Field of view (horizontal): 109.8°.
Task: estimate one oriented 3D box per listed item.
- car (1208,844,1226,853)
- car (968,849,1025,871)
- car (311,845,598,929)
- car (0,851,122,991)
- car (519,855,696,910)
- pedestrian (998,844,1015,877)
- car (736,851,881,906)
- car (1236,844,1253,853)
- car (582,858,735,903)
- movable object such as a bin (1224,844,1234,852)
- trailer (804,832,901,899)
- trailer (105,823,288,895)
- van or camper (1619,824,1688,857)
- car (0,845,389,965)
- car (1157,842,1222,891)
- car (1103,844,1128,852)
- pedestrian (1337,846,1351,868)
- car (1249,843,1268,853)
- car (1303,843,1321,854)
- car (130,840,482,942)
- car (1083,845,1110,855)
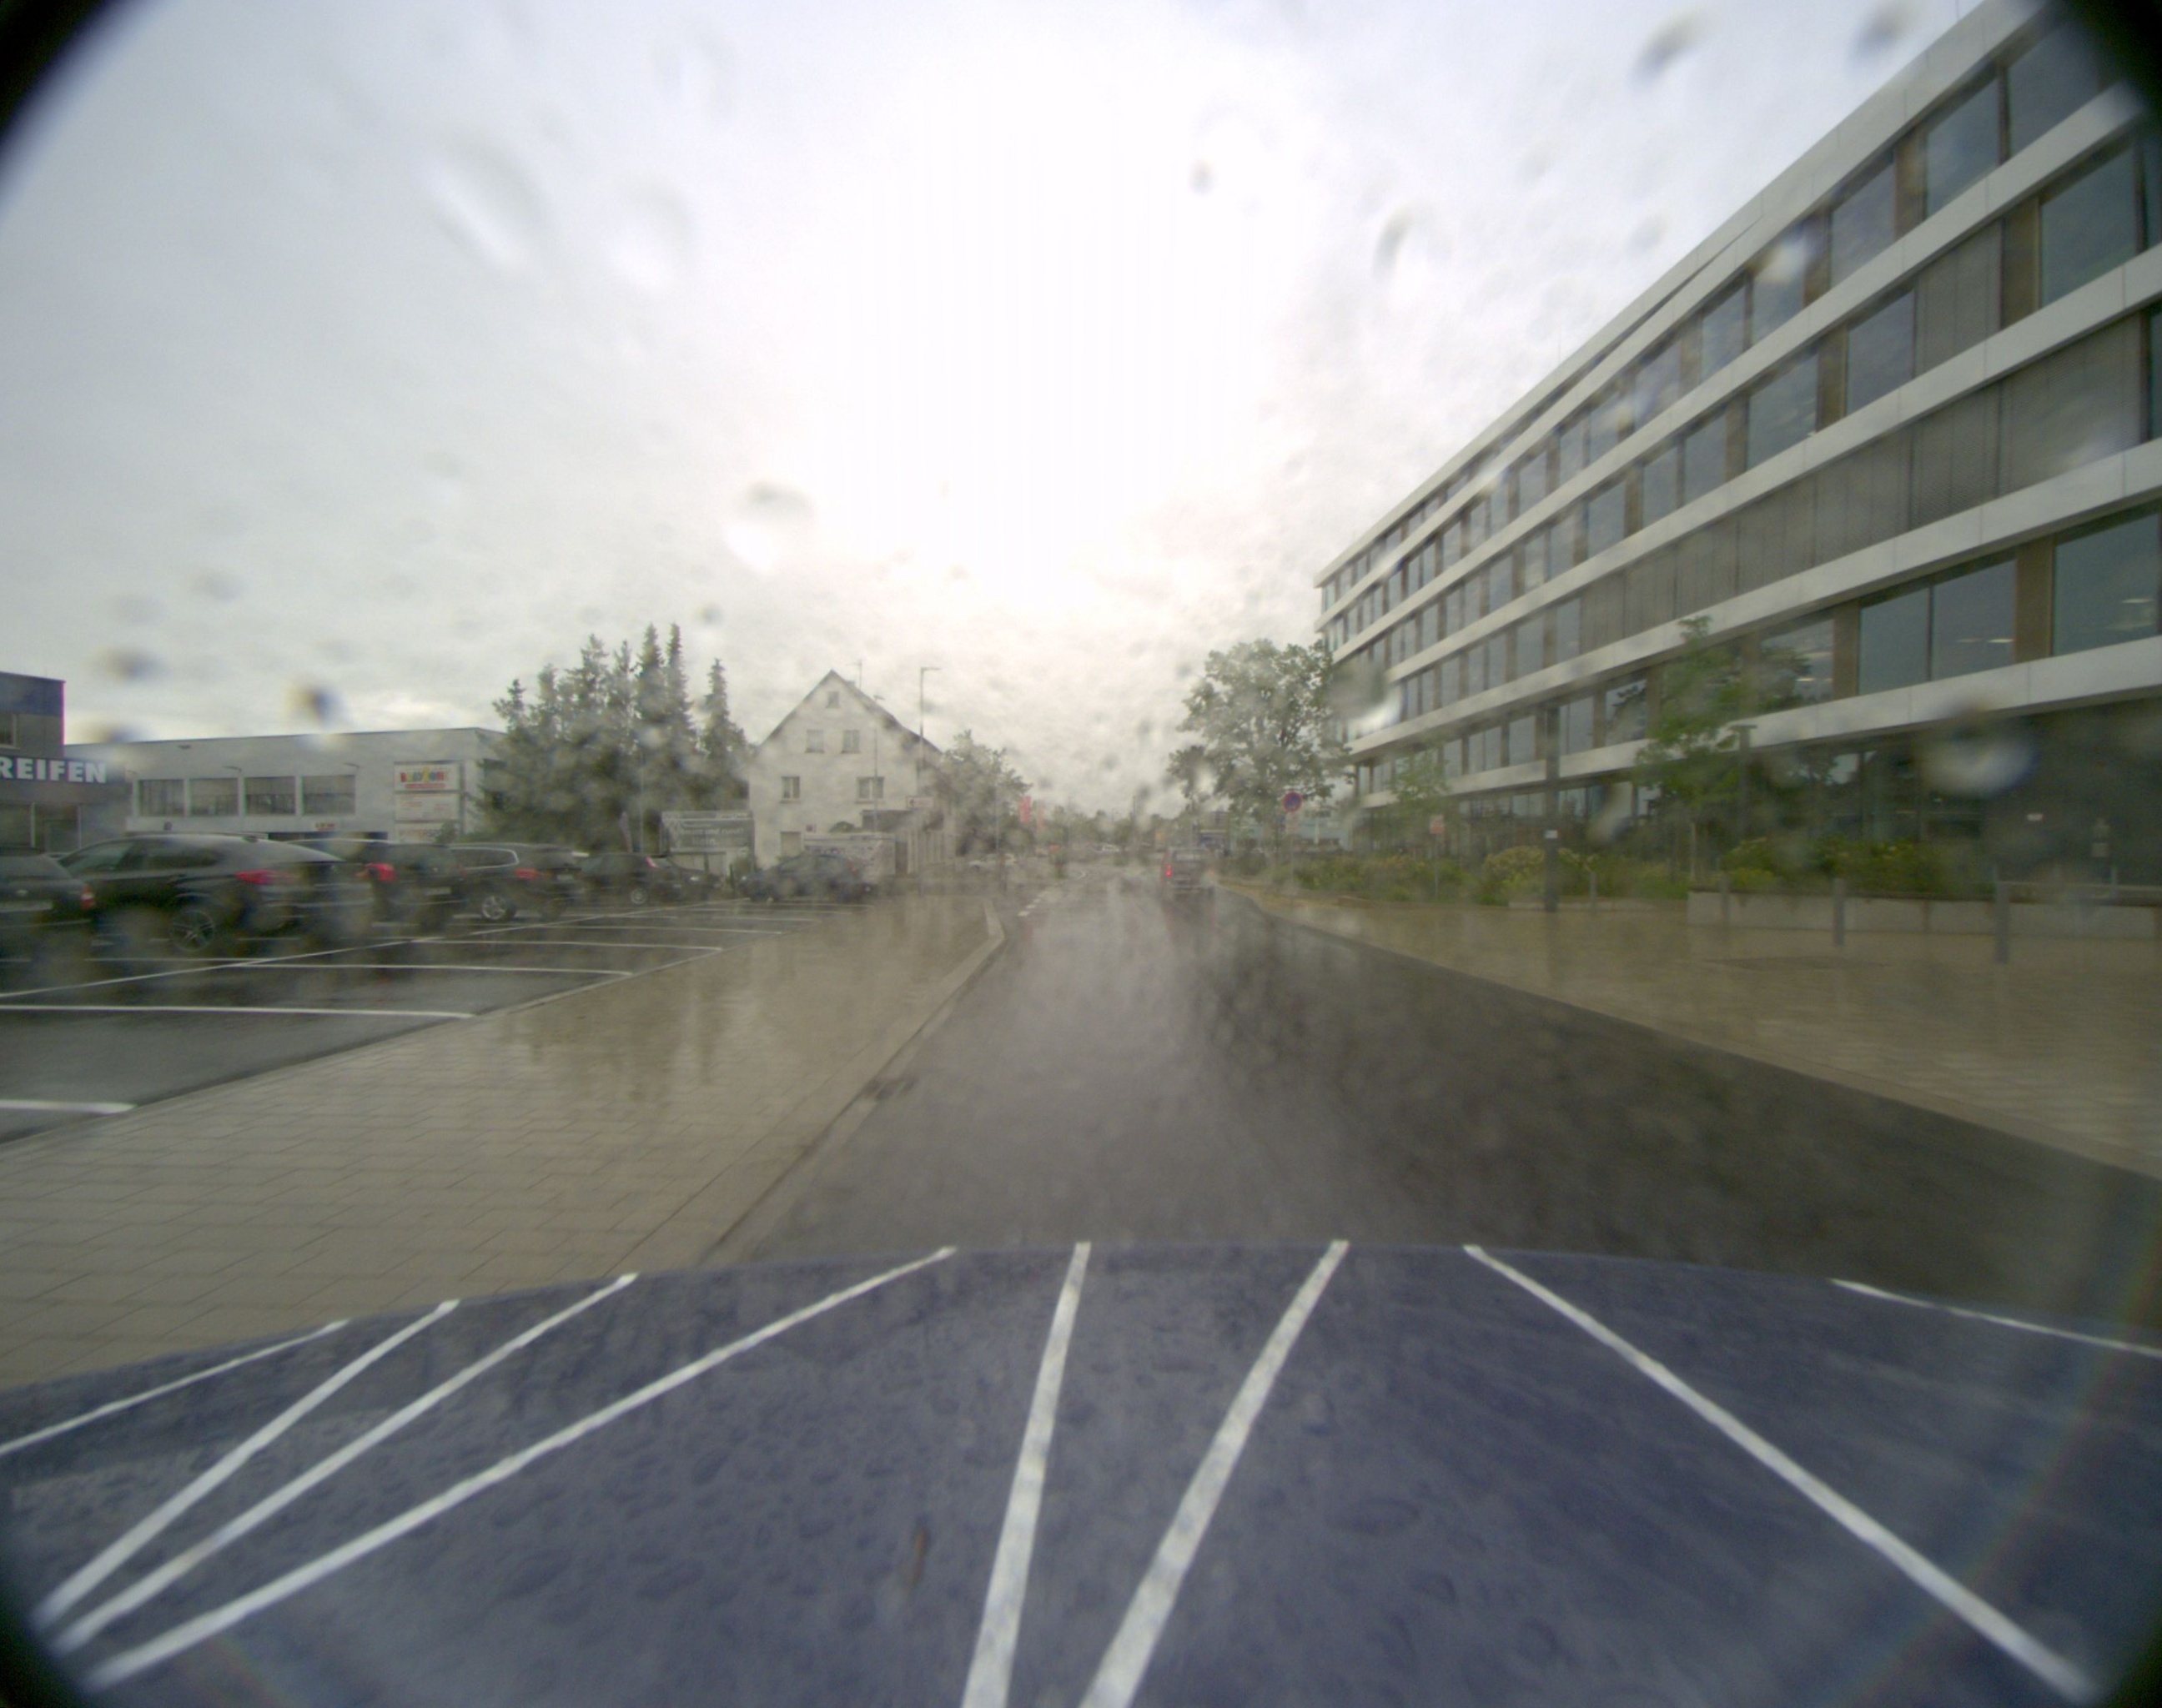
[{"bbox_3d":[24.144,-1.035,134.732,1.916,1.521,4.007,-2,0,27],"label":"car"},{"bbox_3d":[-6.639,0.482,59.426,4.144,1.571,1.997,2,0,-14],"label":"car"},{"bbox_3d":[-12.854,0.645,15.808,4.367,1.642,1.844,0,1,-2],"label":"car"},{"bbox_3d":[-13.322,0.717,8.268,3.696,1.491,1.642,0,1,1],"label":"car"},{"bbox_3d":[-12.889,0.752,20.870,3.736,1.440,1.730,0,1,-3],"label":"car"},{"bbox_3d":[-4.574,0.393,46.694,0.861,2.002,1.195,2,1,-2],"label":"pedestrian"},{"bbox_3d":[-8.085,0.703,22.782,3.735,1.520,1.650,1,1,0],"label":"car"},{"bbox_3d":[26.294,-0.889,122.071,1.883,1.288,4.006,-3,0,24],"label":"car"},{"bbox_3d":[-12.884,0.784,23.331,3.736,1.308,1.692,0,1,-3],"label":"car"},{"bbox_3d":[24.881,-0.975,127.931,1.212,1.288,1.481,-3,0,24],"label":"movable object such as a bin"},{"bbox_3d":[-7.531,0.365,25.226,2.708,2.159,1.548,0,1,2],"label":"trailer"},{"bbox_3d":[-38.880,0.183,33.448,5.878,2.720,2.938,-3,2,17],"label":"trailer"},{"bbox_3d":[57.035,-1.310,75.859,5.090,3.070,2.003,-2,0,21],"label":"van or camper"},{"bbox_3d":[-12.920,0.658,10.837,4.366,1.550,1.839,0,1,-1],"label":"car"},{"bbox_3d":[4.265,0.442,30.669,2.008,1.807,4.979,0,0,1],"label":"car"},{"bbox_3d":[6.259,-1.106,137.277,3.990,1.433,2.003,0,0,25],"label":"car"},{"bbox_3d":[20.778,0.237,60.106,0.726,1.694,0.956,-4,2,4],"label":"pedestrian"},{"bbox_3d":[25.398,-0.803,108.475,1.883,1.288,4.006,-3,0,24],"label":"car"},{"bbox_3d":[32.175,-0.768,105.862,1.883,1.288,4.006,-3,0,24],"label":"car"},{"bbox_3d":[-13.388,0.604,13.320,4.366,1.649,1.786,0,1,1],"label":"car"},{"bbox_3d":[2.639,-0.702,127.840,4.095,1.696,2.004,0,0,28],"label":"car"}]
